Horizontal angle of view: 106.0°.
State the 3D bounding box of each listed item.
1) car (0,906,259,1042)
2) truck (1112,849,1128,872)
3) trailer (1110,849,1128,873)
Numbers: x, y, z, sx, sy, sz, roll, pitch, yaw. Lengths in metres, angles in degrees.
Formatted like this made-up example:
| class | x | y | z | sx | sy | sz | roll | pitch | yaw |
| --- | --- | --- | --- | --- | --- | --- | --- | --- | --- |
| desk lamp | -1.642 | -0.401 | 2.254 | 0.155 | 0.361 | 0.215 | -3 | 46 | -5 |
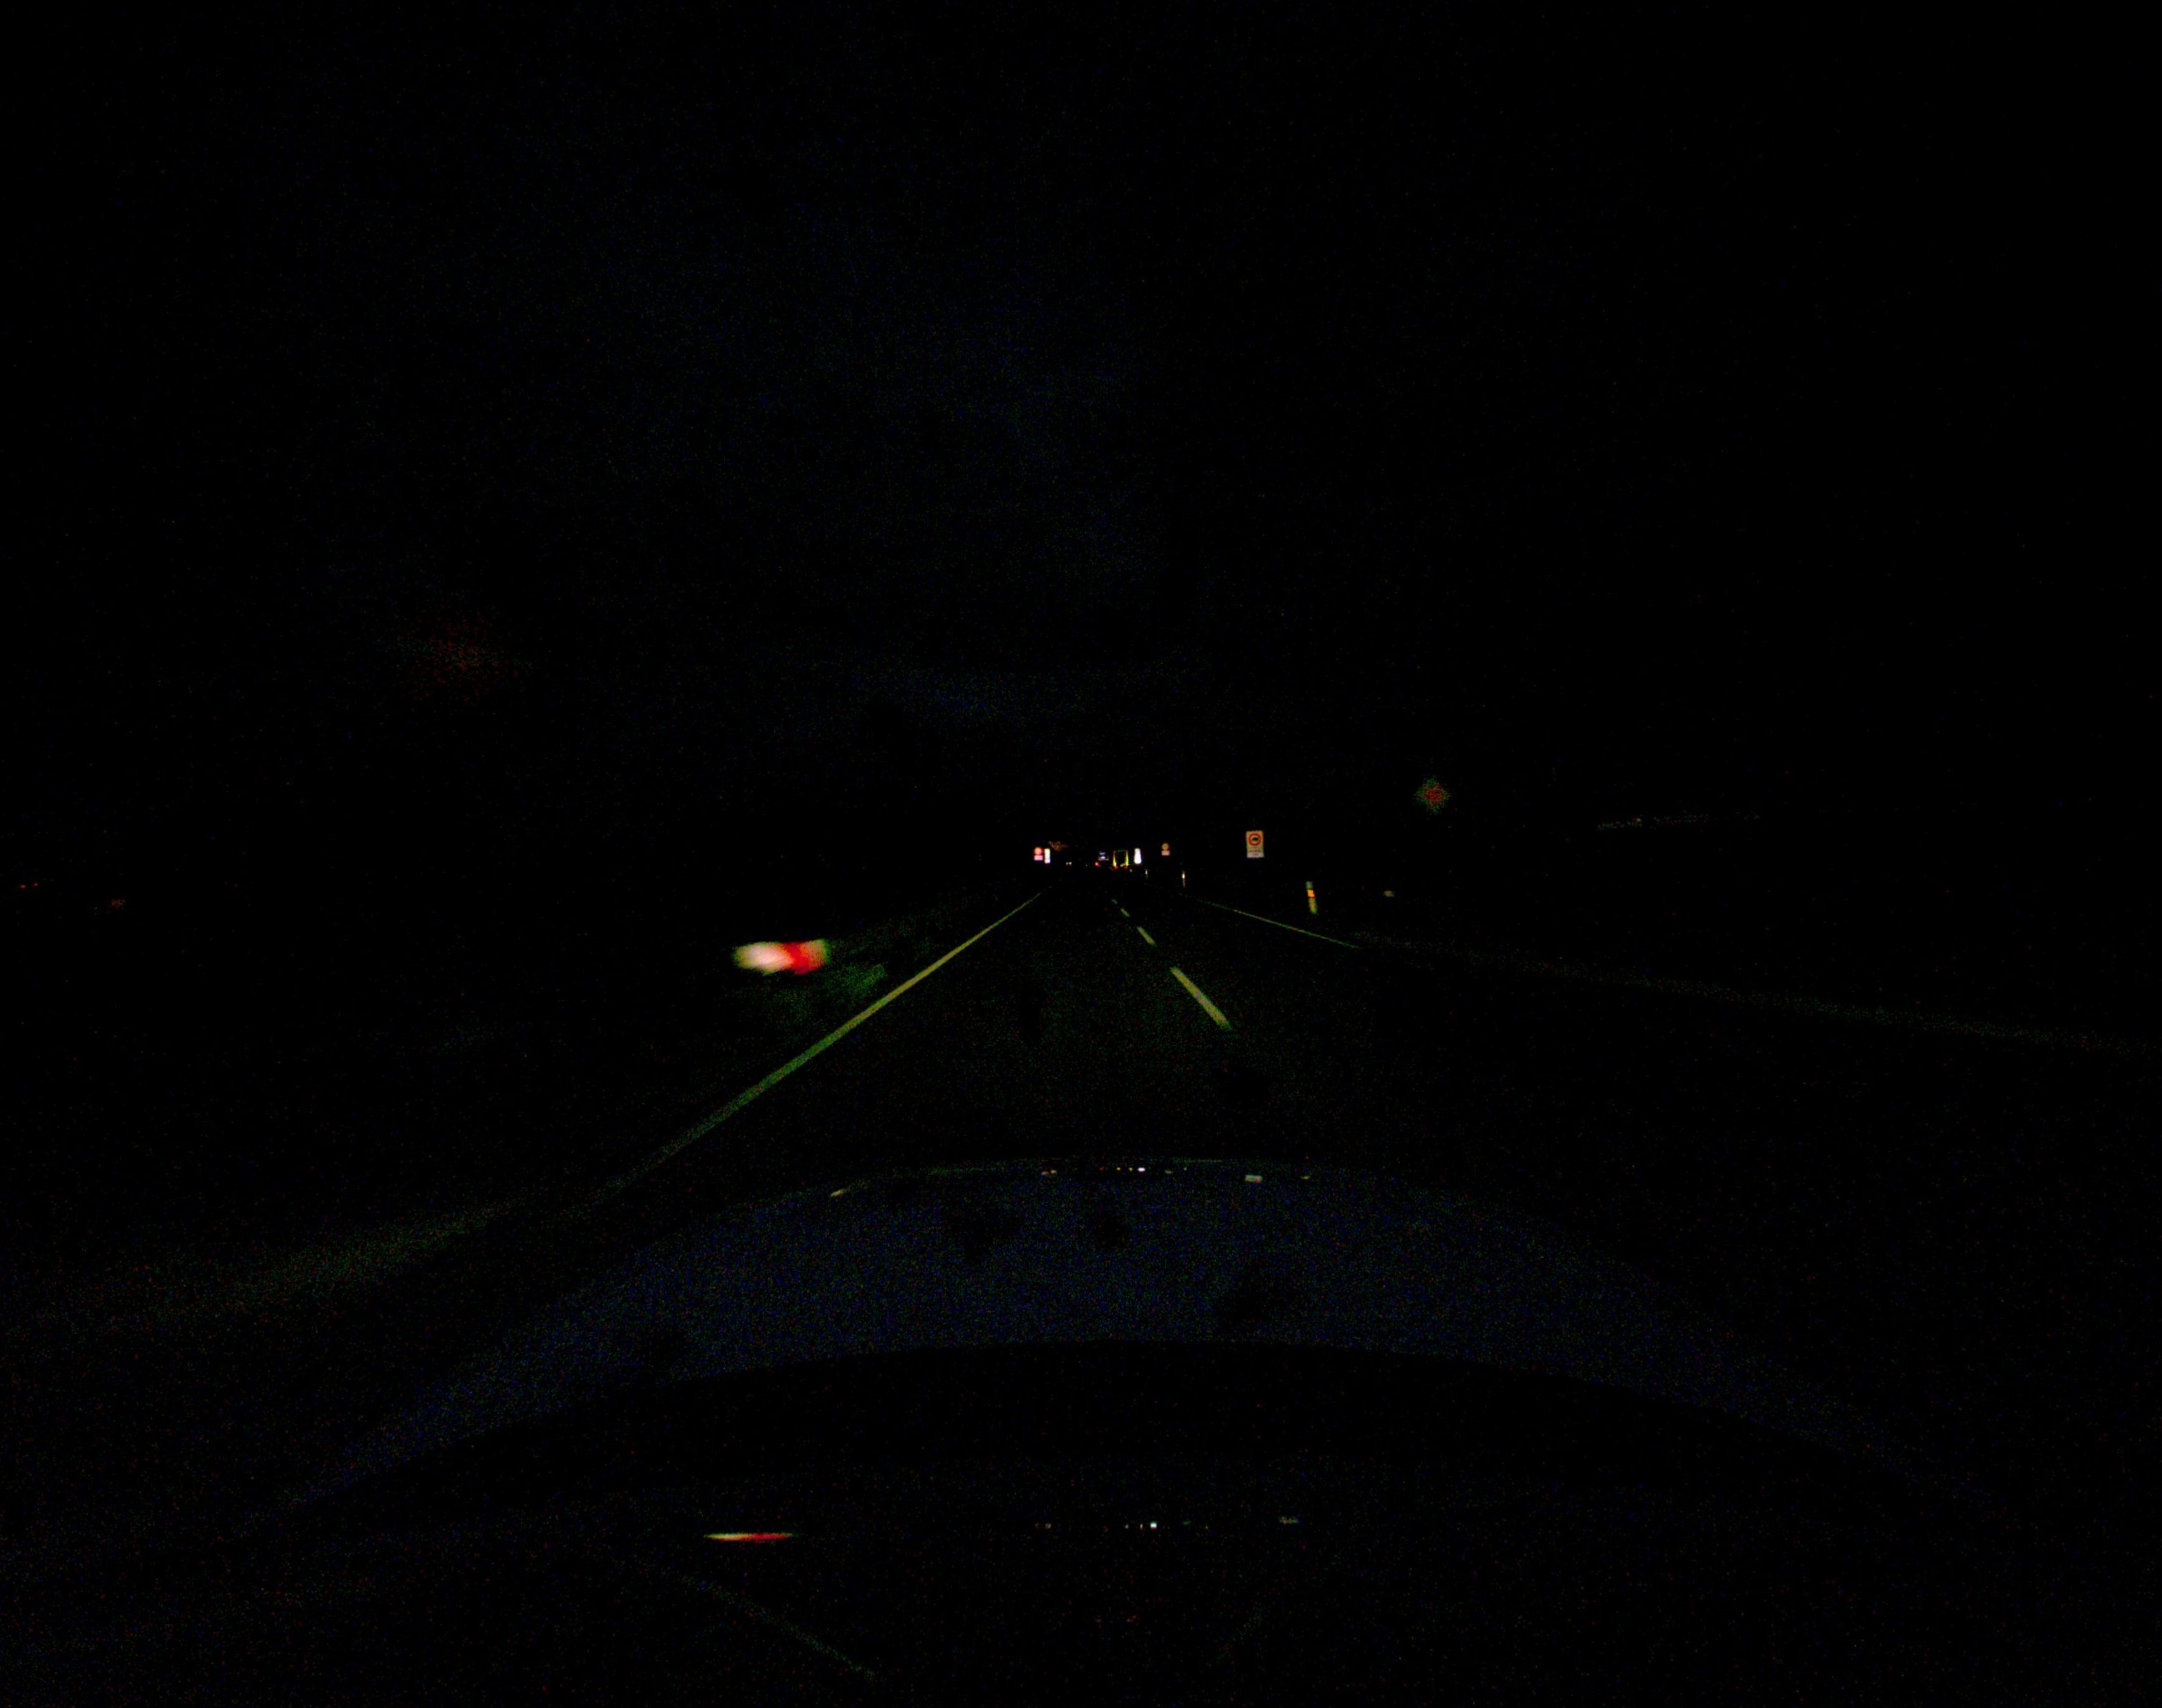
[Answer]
| class | x | y | z | sx | sy | sz | roll | pitch | yaw |
| --- | --- | --- | --- | --- | --- | --- | --- | --- | --- |
| car | -12.865 | 1.419 | 9.903 | 1.647 | 1.384 | 4.028 | 0 | -1 | -1 |
| truck | 6.833 | 1.158 | 144.371 | 2.570 | 4.071 | 6.130 | -1 | 0 | 1 |
| trailer | 6.904 | 1.257 | 150.349 | 2.614 | 4.104 | 12.934 | -2 | -1 | 0 |
